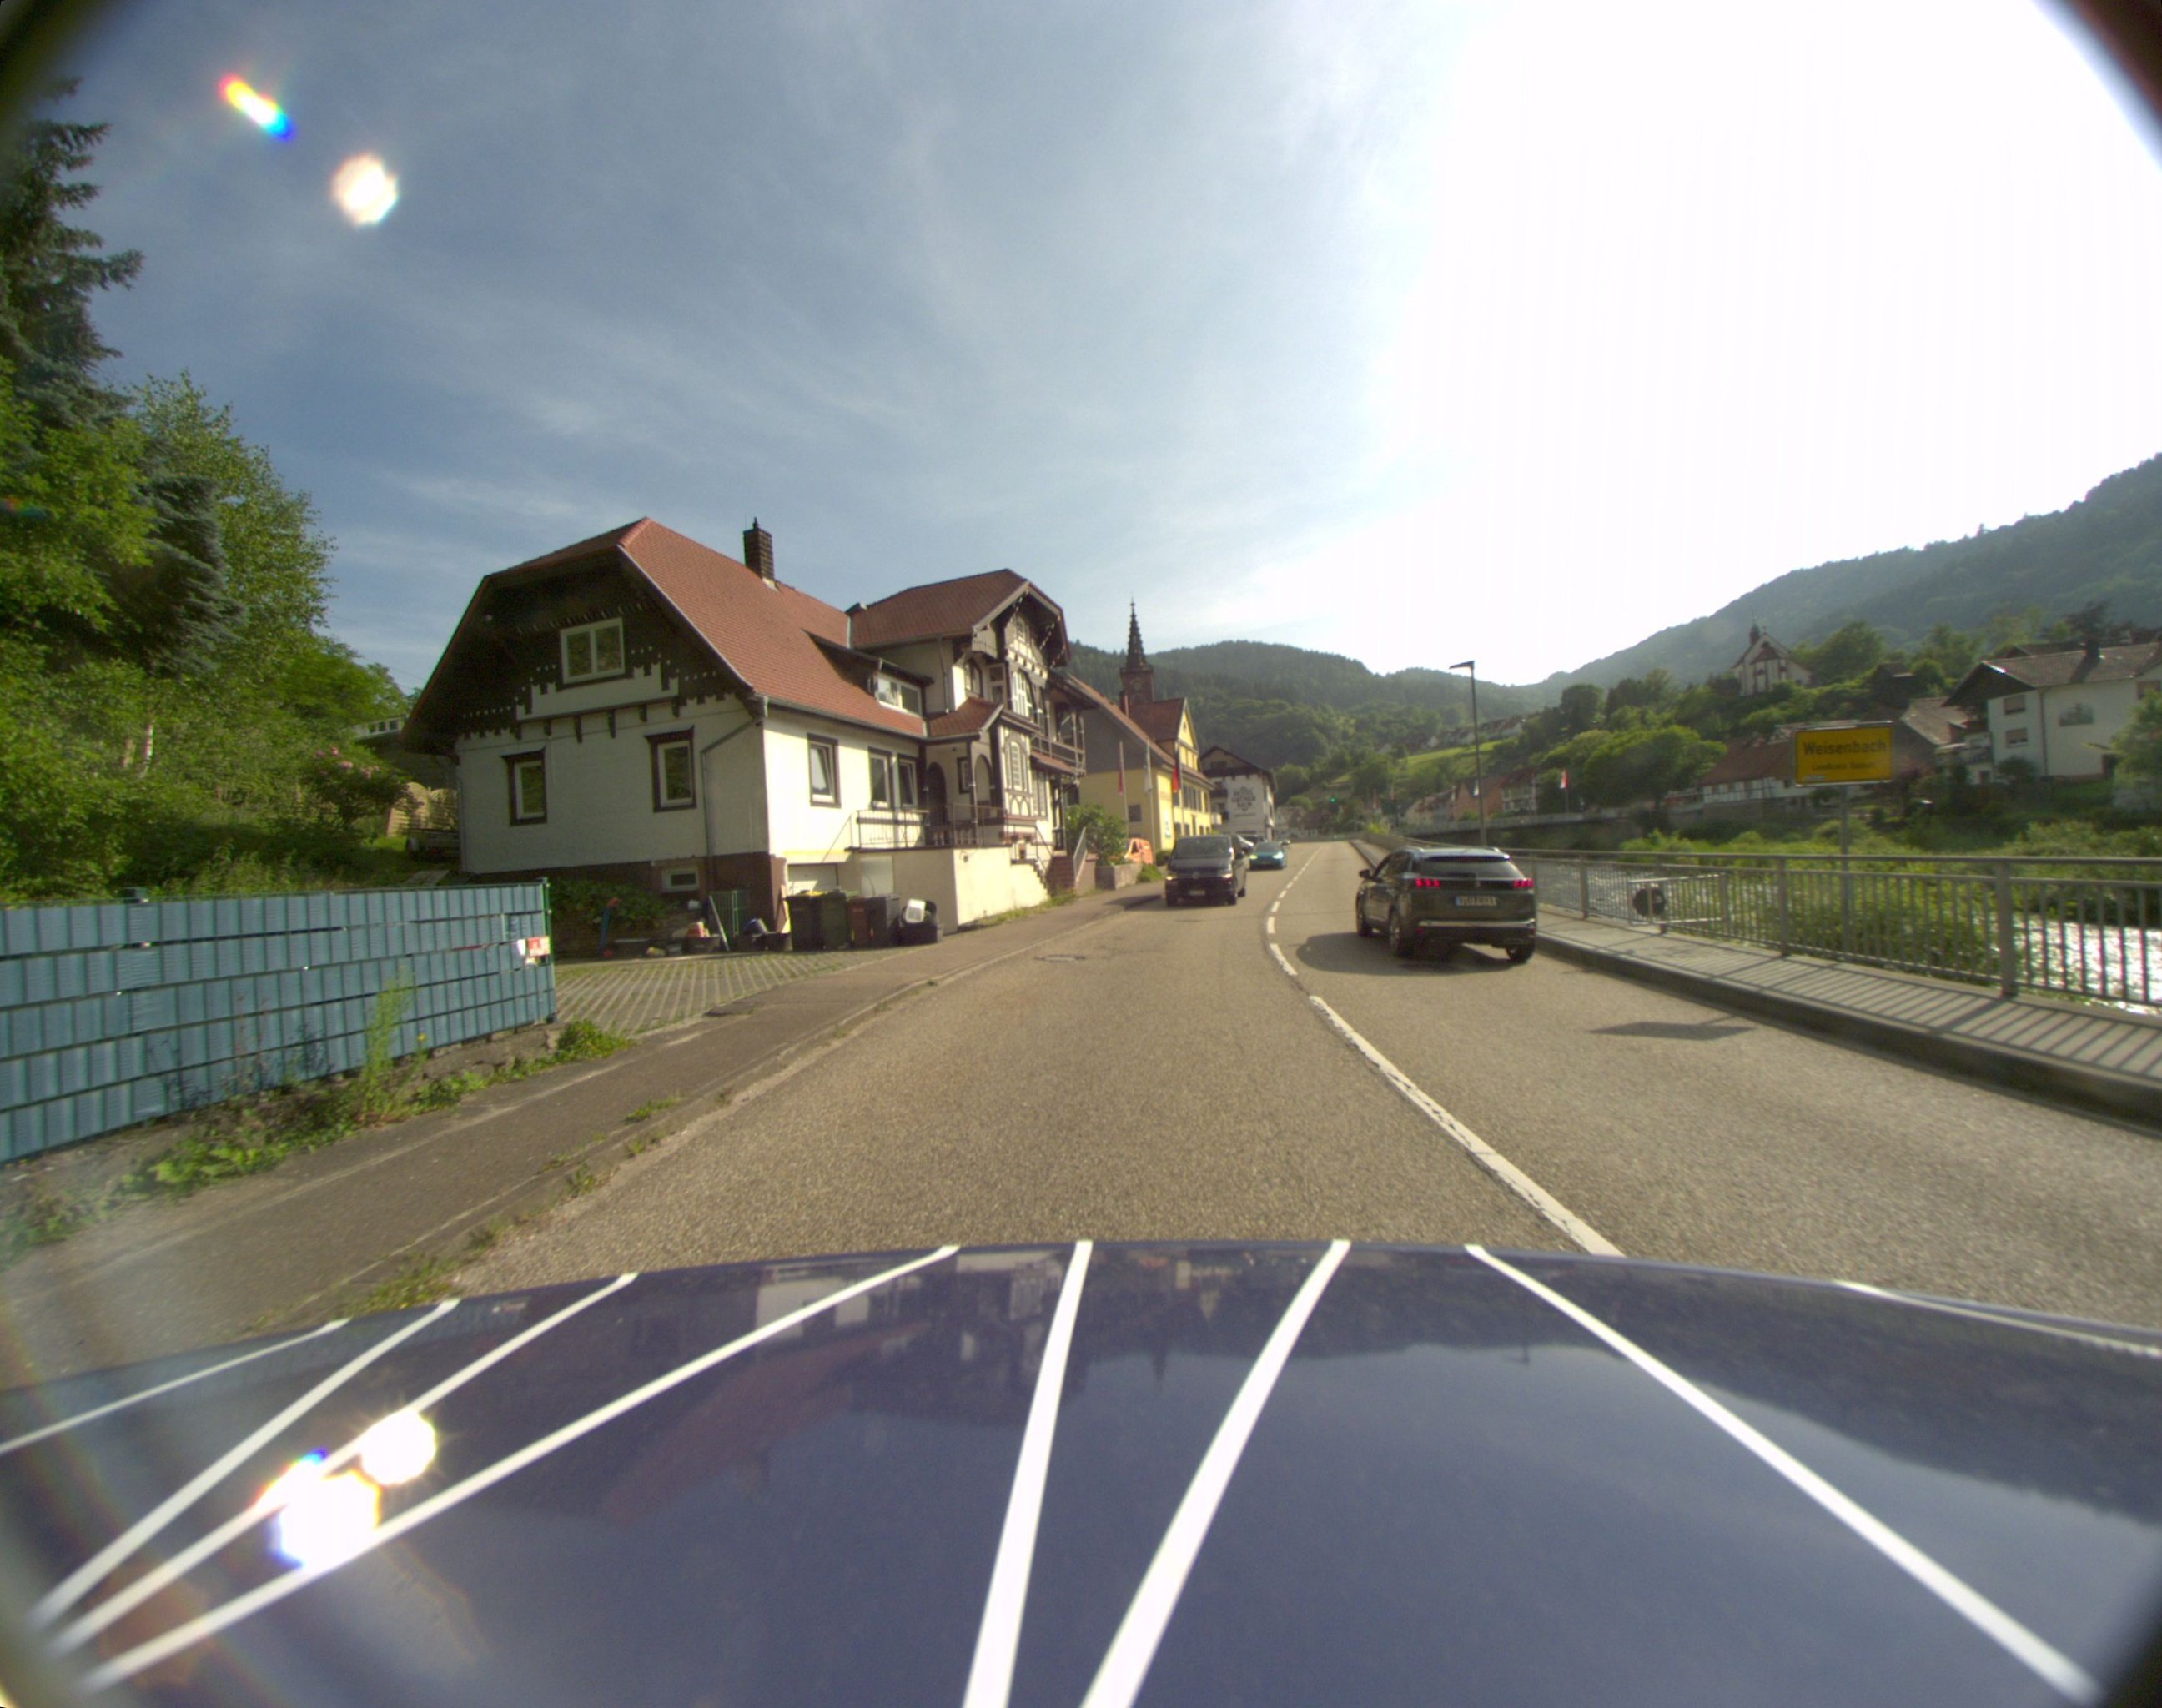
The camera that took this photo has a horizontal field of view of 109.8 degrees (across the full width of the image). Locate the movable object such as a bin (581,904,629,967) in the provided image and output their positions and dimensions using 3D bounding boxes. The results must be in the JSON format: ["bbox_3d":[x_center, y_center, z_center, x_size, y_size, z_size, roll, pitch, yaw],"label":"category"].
[{"bbox_3d":[-8.669,1.476,13.848,0.525,1.076,0.432,-4,1,1],"label":"movable object such as a bin"}]

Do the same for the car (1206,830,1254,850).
[{"bbox_3d":[15.011,-1.417,76.673,4.447,1.947,1.716,2,3,21],"label":"car"}]

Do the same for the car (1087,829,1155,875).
[{"bbox_3d":[1.990,-0.125,35.934,1.910,1.986,4.841,1,1,19],"label":"car"}]

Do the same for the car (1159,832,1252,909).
[{"bbox_3d":[3.754,0.393,22.190,1.885,1.953,4.871,-2,1,18],"label":"car"}]

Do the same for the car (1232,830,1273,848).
[{"bbox_3d":[18.339,-1.565,81.190,3.991,1.871,1.687,0,2,21],"label":"car"}]

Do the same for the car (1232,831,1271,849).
[{"bbox_3d":[17.658,-1.478,78.650,3.750,1.883,1.373,1,2,21],"label":"car"}]

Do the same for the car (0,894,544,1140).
[{"bbox_3d":[-7.245,1.215,6.160,4.333,1.460,1.835,-3,-1,-21],"label":"car"}]

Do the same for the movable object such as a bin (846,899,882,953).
[{"bbox_3d":[-3.911,1.293,13.710,0.368,0.895,0.547,-4,1,8],"label":"movable object such as a bin"}]

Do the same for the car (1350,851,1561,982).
[{"bbox_3d":[5.553,0.792,11.868,1.818,1.633,4.002,1,1,9],"label":"car"}]

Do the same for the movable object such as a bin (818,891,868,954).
[{"bbox_3d":[-4.341,1.236,13.876,0.478,1.056,0.753,-4,0,14],"label":"movable object such as a bin"}]

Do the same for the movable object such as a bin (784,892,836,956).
[{"bbox_3d":[-4.937,1.267,13.883,0.478,1.056,0.753,-4,0,14],"label":"movable object such as a bin"}]

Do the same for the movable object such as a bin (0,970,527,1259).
[{"bbox_3d":[-4.804,1.325,4.413,0.856,0.842,2.541,-4,0,15],"label":"movable object such as a bin"}]

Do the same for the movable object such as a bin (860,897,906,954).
[{"bbox_3d":[-3.482,1.252,13.404,0.472,0.931,0.653,-4,0,14],"label":"movable object such as a bin"}]

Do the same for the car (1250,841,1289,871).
[{"bbox_3d":[10.546,0.070,42.375,1.680,1.513,3.870,-1,1,20],"label":"car"}]
